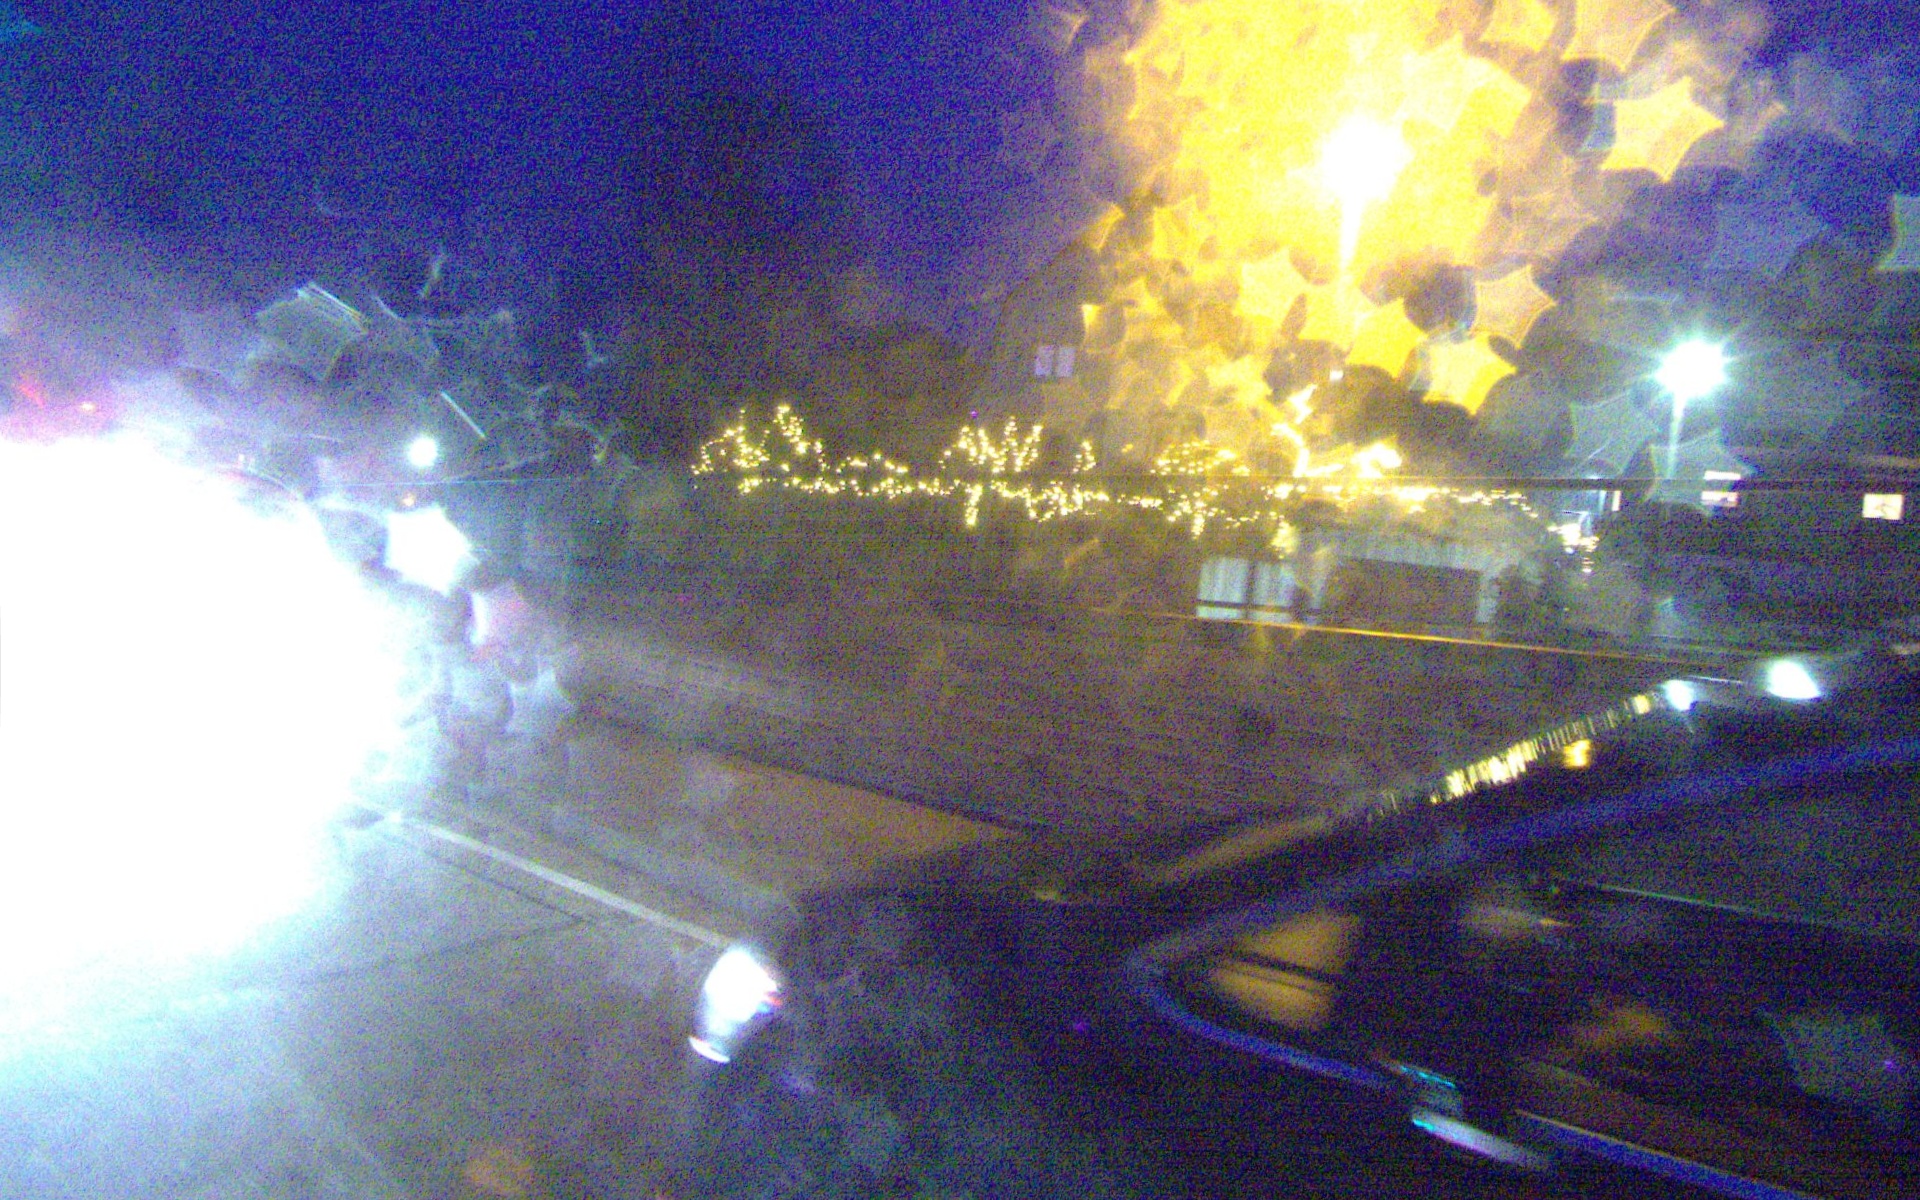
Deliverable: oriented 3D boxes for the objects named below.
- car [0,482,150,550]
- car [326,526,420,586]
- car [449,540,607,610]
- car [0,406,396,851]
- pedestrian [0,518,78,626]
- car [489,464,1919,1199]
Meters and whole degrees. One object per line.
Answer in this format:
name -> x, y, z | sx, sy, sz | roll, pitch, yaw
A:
car -> -27.760, -2.608, 30.733 | 4.297, 1.476, 1.838 | 9, -3, -30
car -> -18.421, -1.393, 31.465 | 1.714, 1.500, 4.656 | 9, -3, -39
car -> -12.999, -0.730, 30.387 | 3.920, 1.503, 1.745 | 9, -3, -40
car -> -5.552, 0.018, 5.952 | 4.269, 1.886, 1.855 | 6, -2, 32
pedestrian -> -15.932, -0.462, 17.240 | 0.608, 1.721, 0.868 | 7, -1, 10
car -> 1.602, 0.886, 1.381 | 4.864, 1.755, 1.837 | 6, -2, 36
